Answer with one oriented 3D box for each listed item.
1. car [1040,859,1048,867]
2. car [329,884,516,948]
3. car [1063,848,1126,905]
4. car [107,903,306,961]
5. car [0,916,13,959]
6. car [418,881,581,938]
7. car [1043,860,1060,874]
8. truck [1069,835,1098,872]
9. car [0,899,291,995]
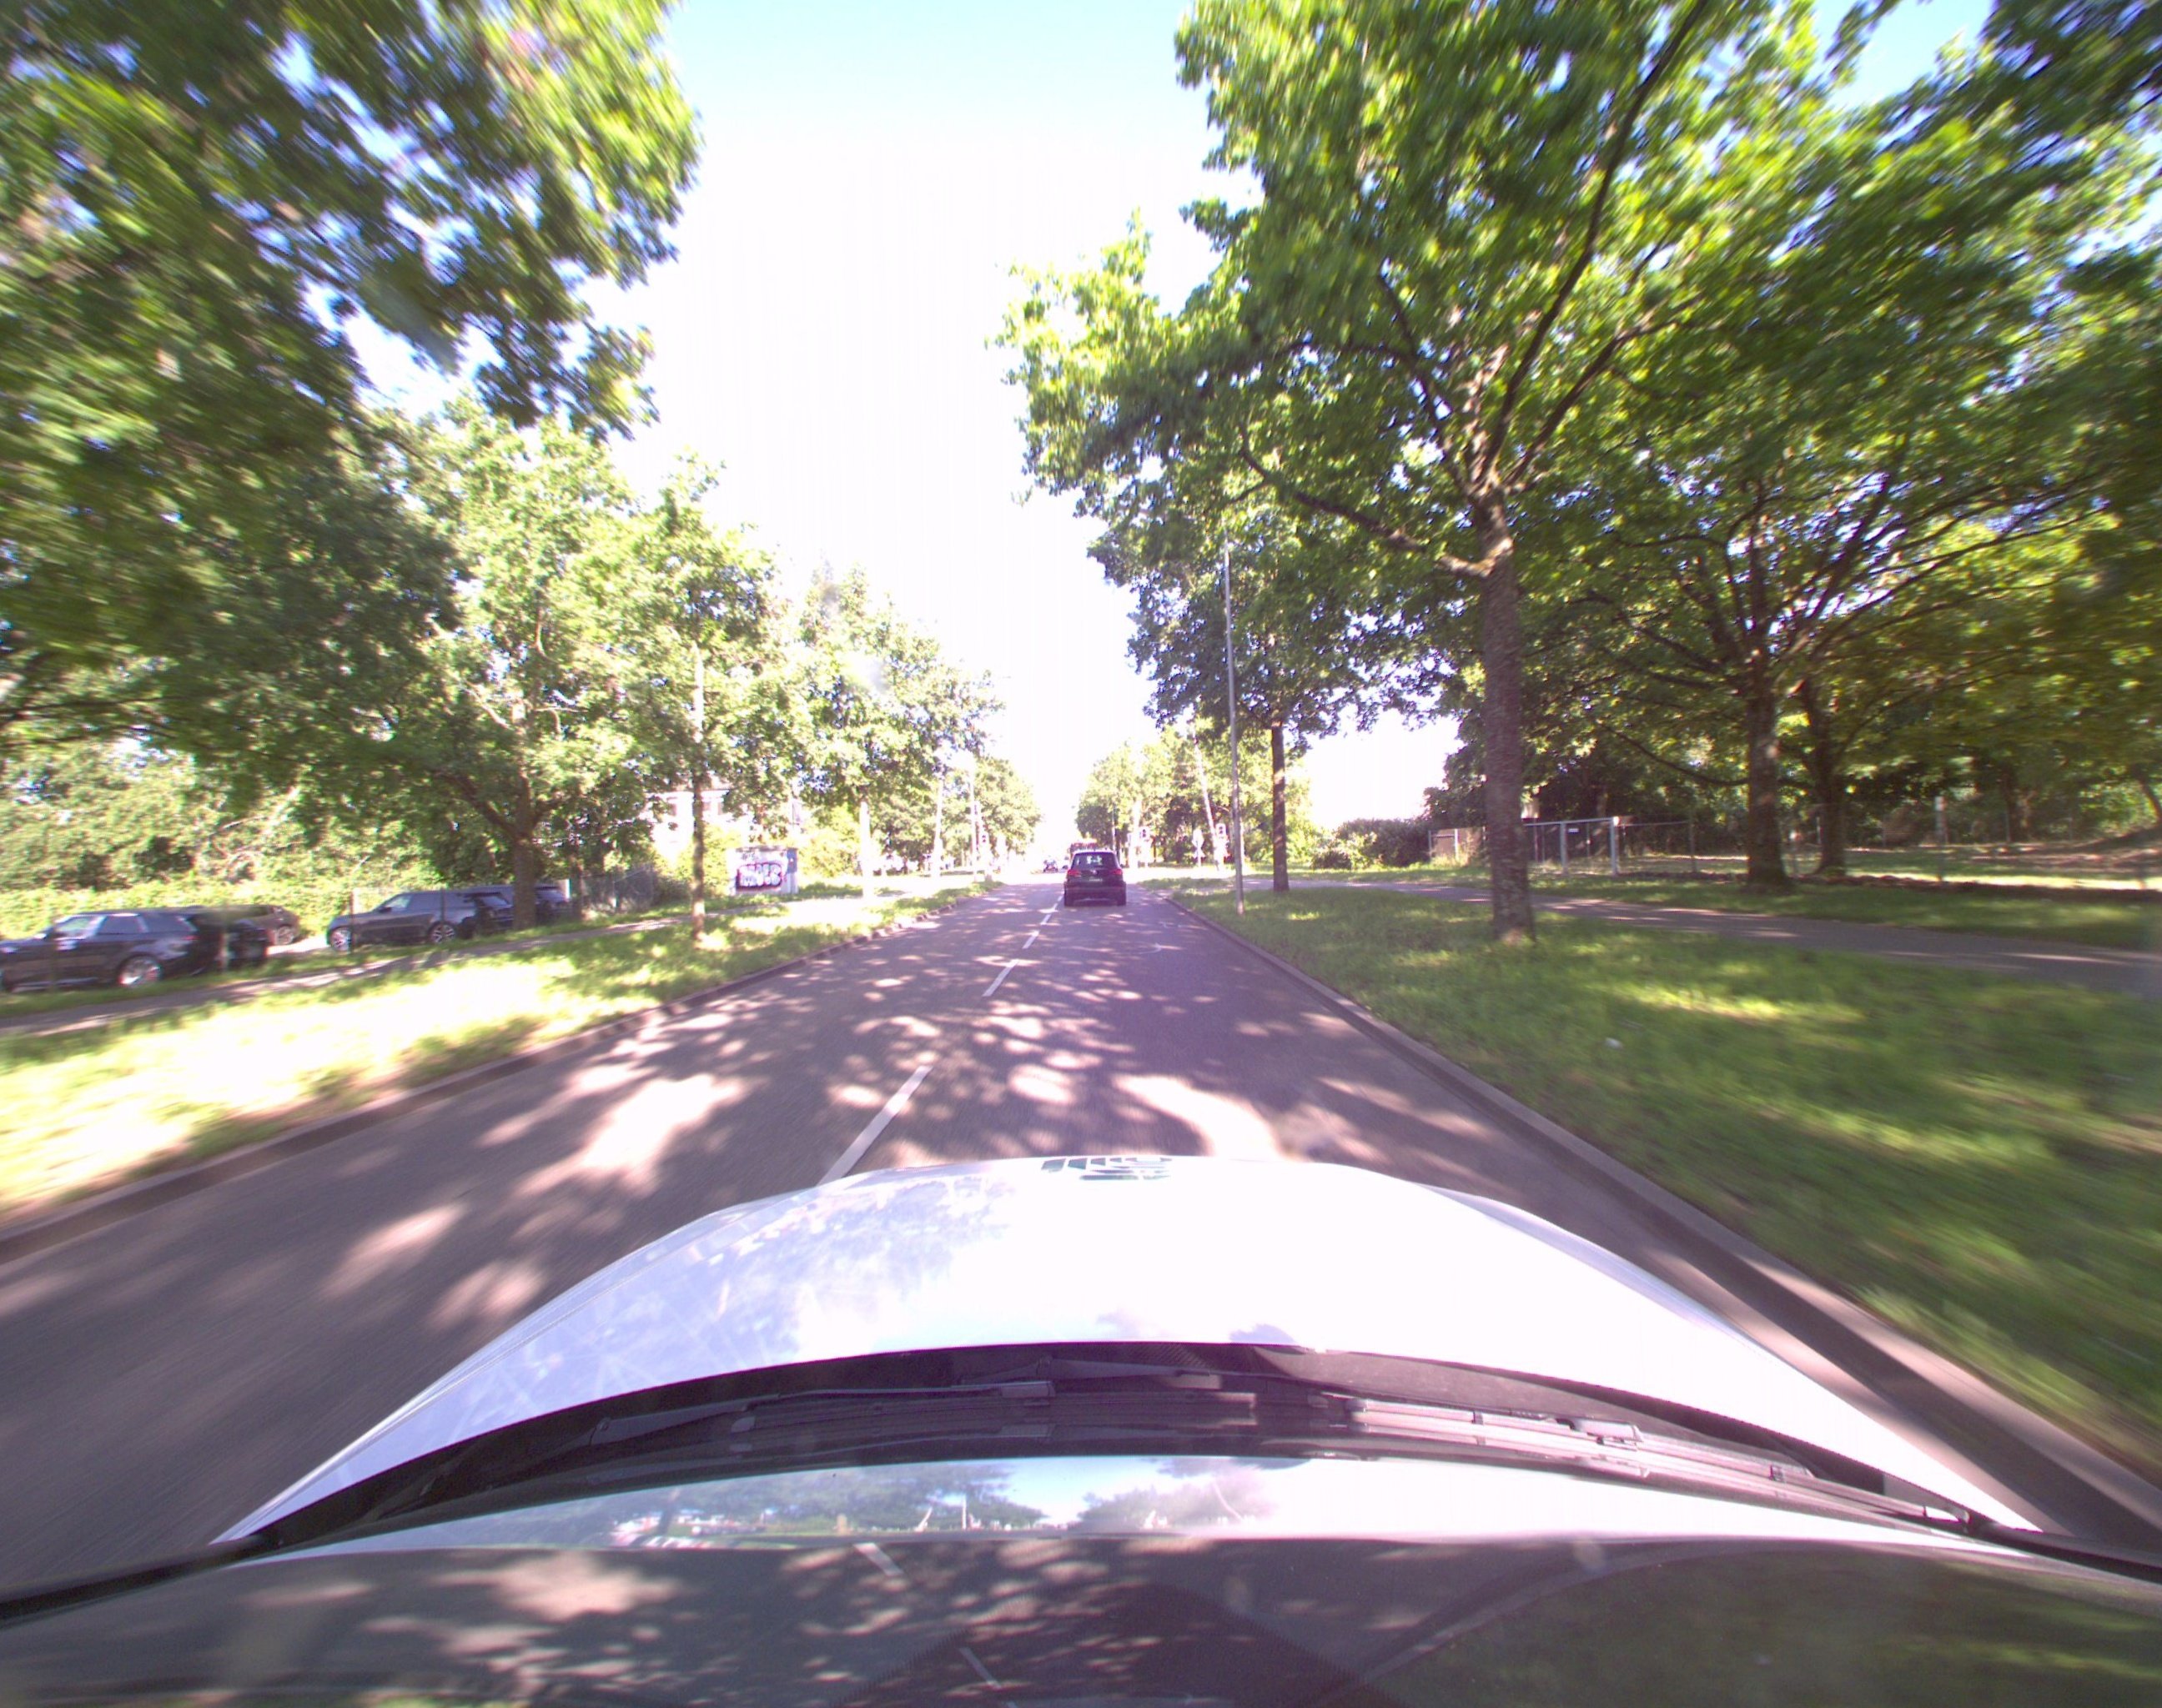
[{"bbox_3d":[-9.857,2.293,215.508,1.991,2.013,3.991,-1,0,-6],"label":"car"},{"bbox_3d":[-20.682,1.917,25.720,4.180,1.801,1.998,-1,0,-3],"label":"car"},{"bbox_3d":[0.425,0.646,25.251,1.776,1.633,4.001,-1,0,1],"label":"car"},{"bbox_3d":[-30.818,2.701,28.973,1.989,1.566,4.878,-1,0,-4],"label":"car"},{"bbox_3d":[-40.822,3.116,27.956,1.989,1.566,4.878,-1,0,-4],"label":"car"},{"bbox_3d":[-20.295,1.898,28.567,4.180,1.801,1.998,-1,0,-3],"label":"car"},{"bbox_3d":[-3.320,1.432,92.824,1.559,1.504,4.003,-1,0,3],"label":"car"},{"bbox_3d":[0.293,-0.085,77.272,2.503,3.243,8.153,-2,0,1],"label":"truck"},{"bbox_3d":[-20.454,1.984,17.934,3.980,1.801,1.997,-1,0,-5],"label":"car"}]
